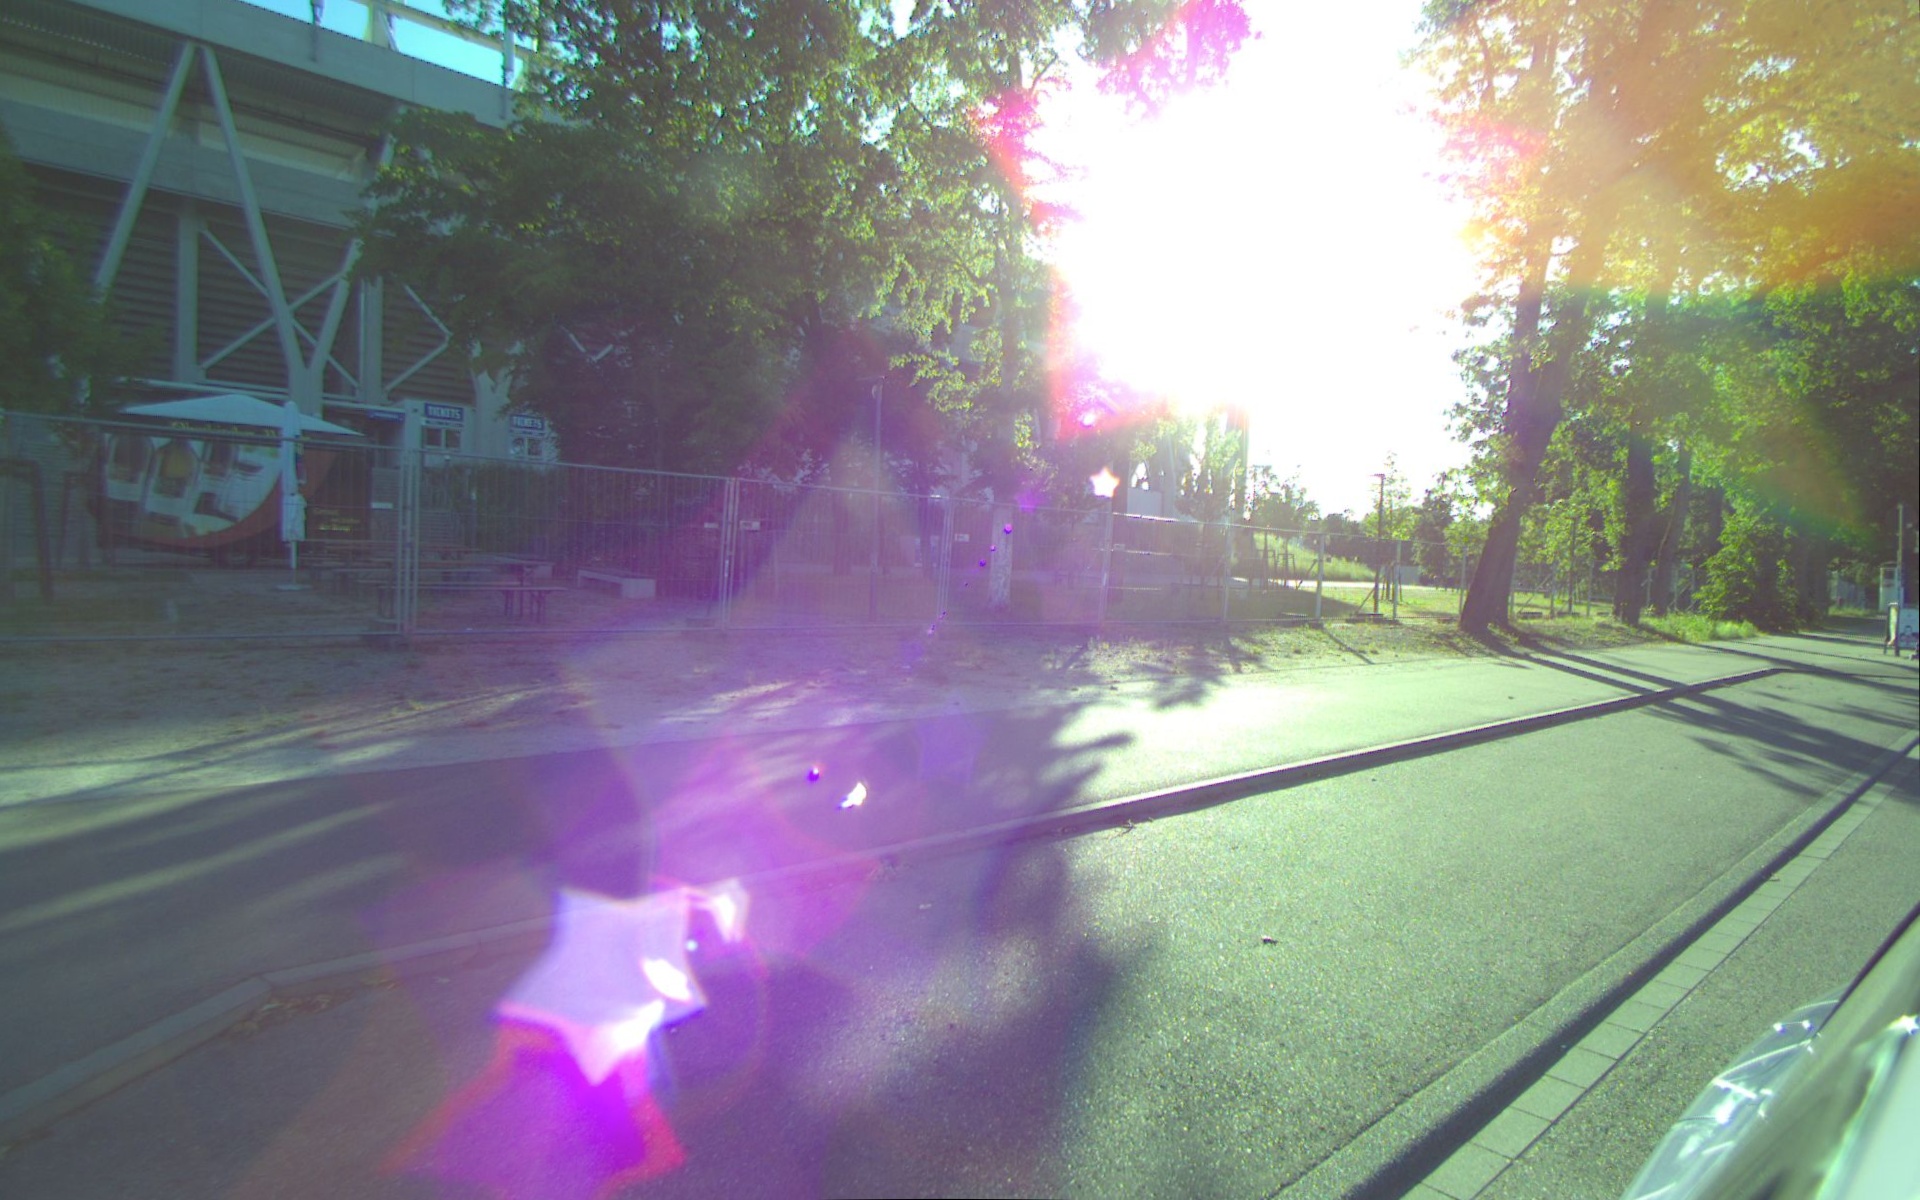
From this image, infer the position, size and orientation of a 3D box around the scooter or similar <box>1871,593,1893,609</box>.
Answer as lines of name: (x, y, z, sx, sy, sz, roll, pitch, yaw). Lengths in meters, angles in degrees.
scooter or similar: (76.424, 0.074, 83.908, 1.281, 1.252, 0.334, 3, 2, 12)
